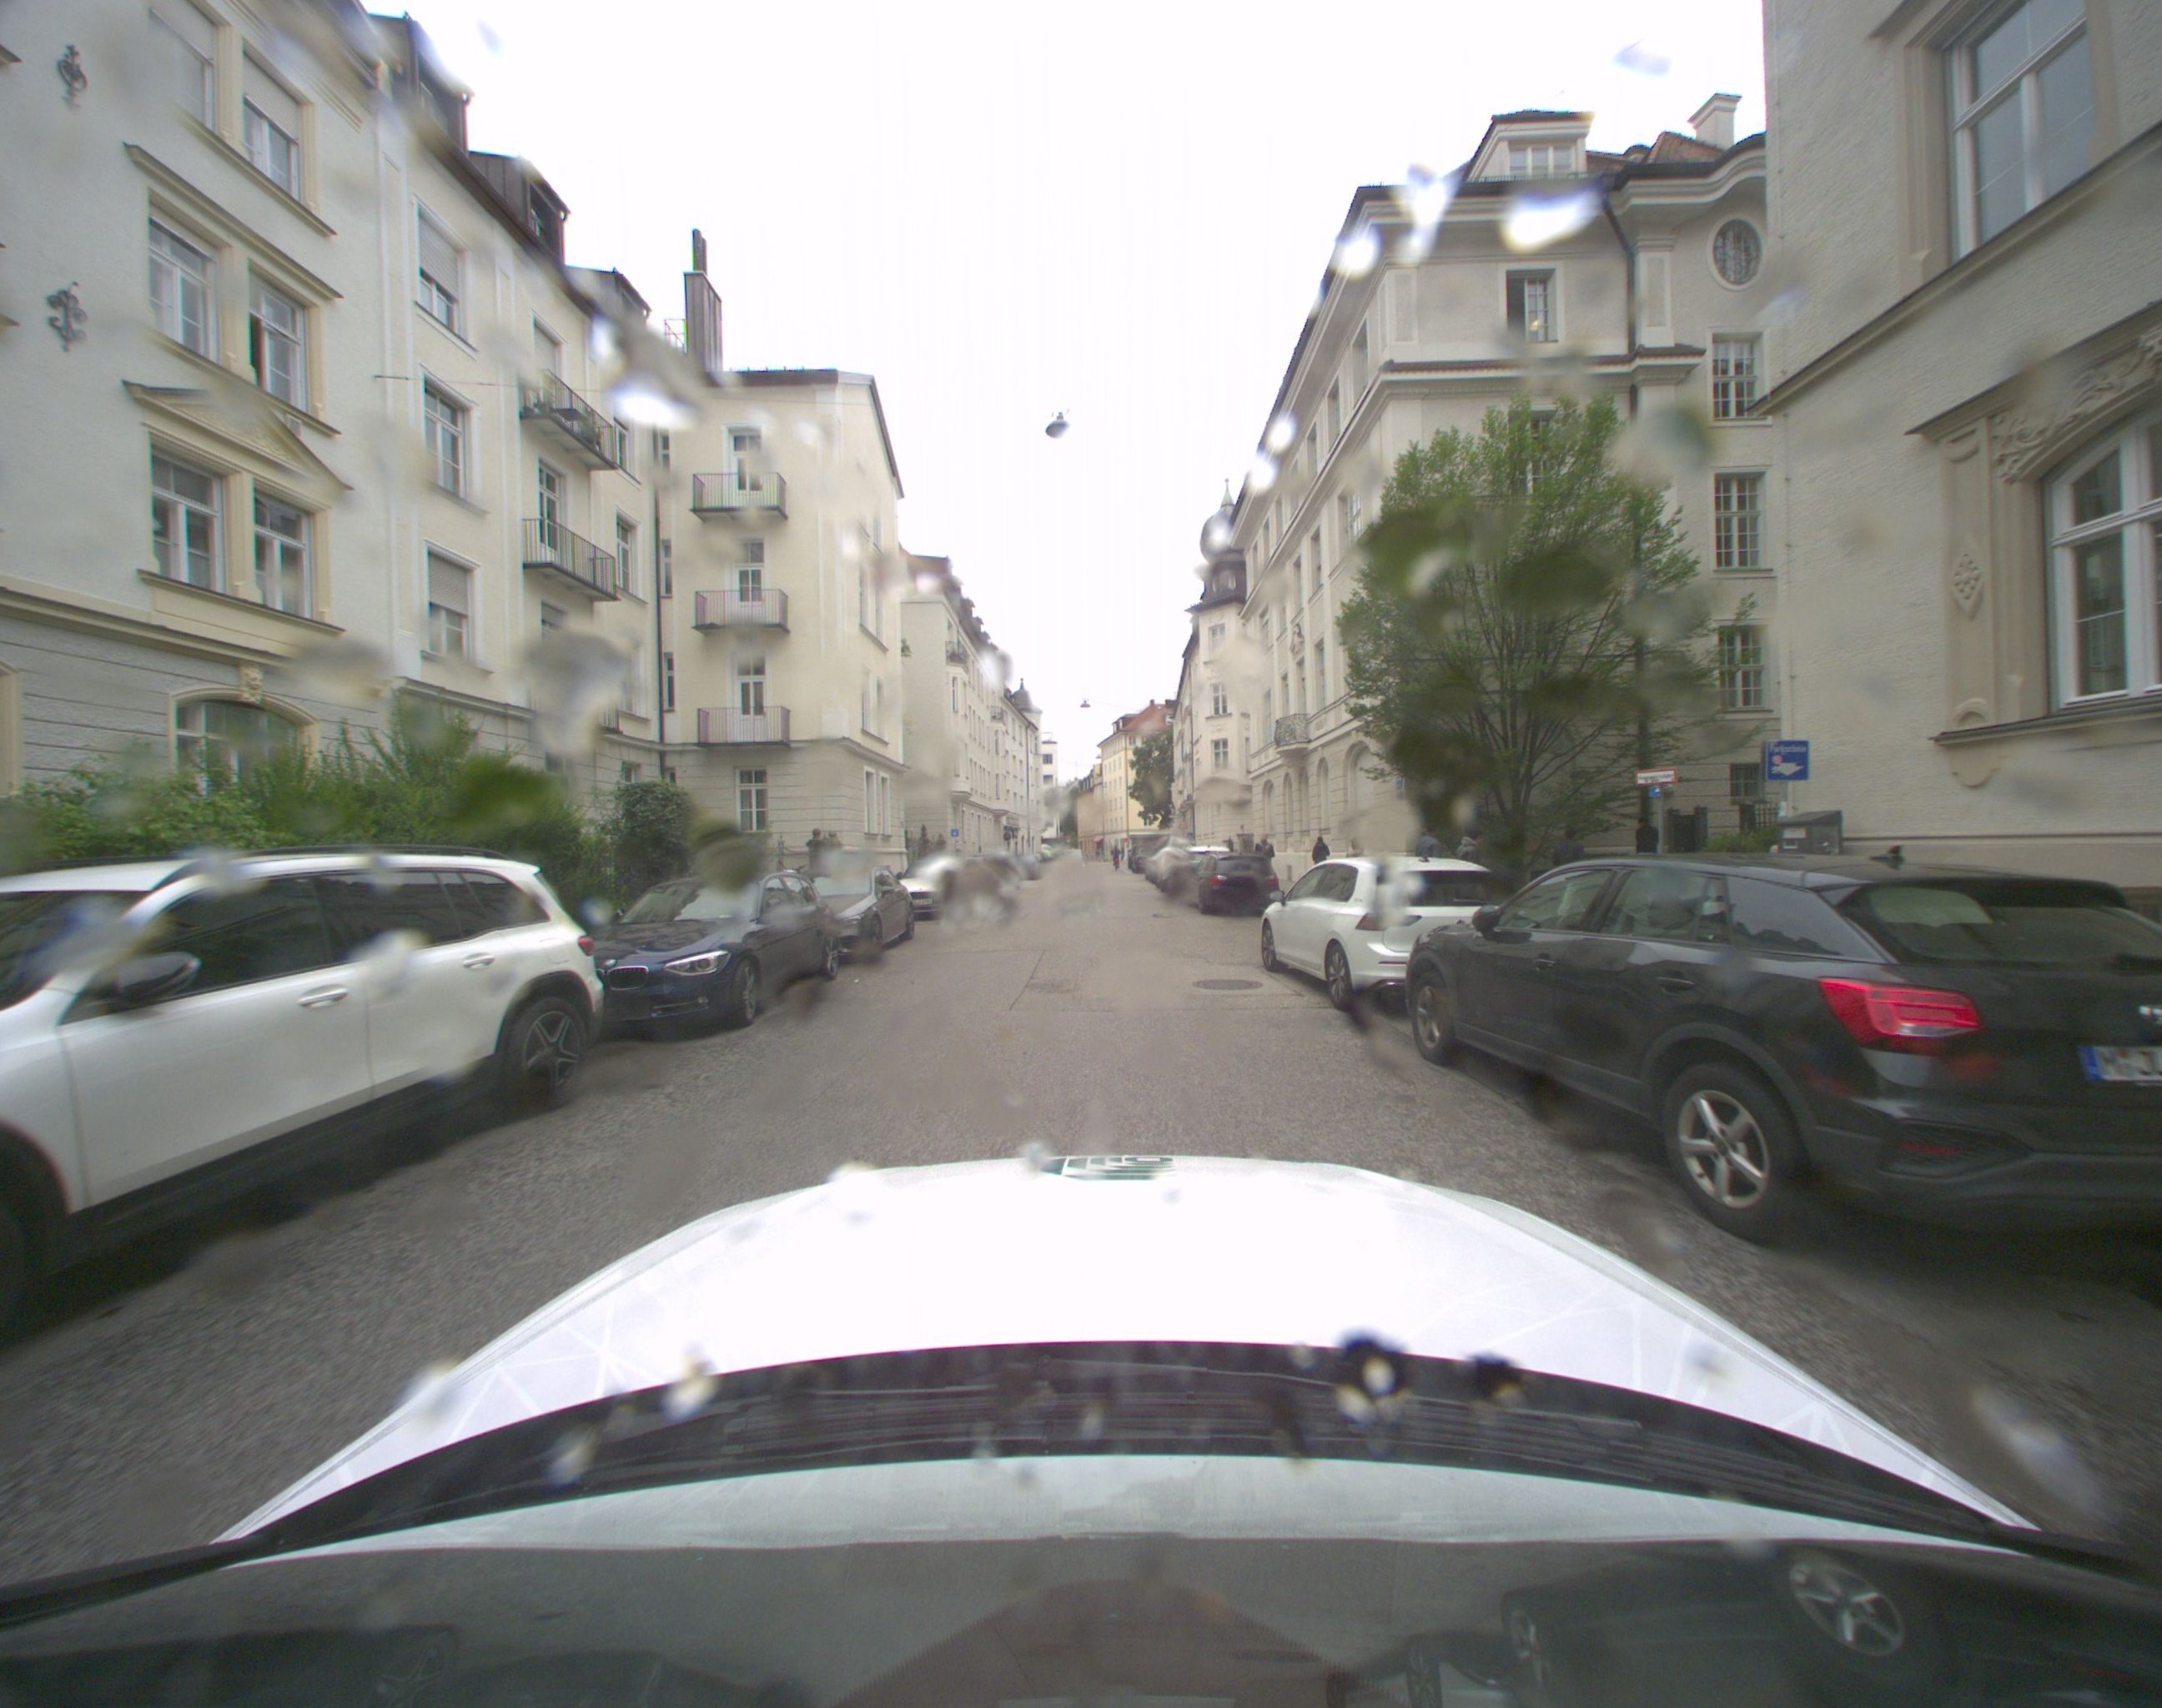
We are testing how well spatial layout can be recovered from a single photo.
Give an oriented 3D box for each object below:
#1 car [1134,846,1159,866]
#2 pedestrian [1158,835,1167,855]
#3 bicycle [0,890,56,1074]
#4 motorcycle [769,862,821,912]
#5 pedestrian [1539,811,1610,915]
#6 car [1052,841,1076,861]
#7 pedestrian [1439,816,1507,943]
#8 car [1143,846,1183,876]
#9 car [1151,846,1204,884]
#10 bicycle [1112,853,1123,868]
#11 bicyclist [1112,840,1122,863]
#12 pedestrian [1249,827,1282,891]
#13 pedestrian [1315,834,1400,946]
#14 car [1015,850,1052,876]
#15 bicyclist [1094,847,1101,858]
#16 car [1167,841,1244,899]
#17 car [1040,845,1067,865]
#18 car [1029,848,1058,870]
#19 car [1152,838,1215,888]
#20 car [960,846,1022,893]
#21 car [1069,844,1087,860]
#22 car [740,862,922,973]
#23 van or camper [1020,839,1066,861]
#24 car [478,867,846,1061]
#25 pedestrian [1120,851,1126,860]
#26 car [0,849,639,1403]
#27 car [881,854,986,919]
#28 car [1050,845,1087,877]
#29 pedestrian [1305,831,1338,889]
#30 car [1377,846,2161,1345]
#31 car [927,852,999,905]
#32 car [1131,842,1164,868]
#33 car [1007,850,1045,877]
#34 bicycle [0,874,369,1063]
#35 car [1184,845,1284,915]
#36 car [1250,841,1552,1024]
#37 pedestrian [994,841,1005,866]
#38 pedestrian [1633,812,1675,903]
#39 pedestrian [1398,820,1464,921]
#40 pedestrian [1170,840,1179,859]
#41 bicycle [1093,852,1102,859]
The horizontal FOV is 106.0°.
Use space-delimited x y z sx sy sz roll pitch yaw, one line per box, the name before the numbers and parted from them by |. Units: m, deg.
car | 4.534 0.126 56.794 1.656 1.395 3.585 0 0 4
pedestrian | 7.451 -0.837 74.719 0.701 1.728 0.703 -3 0 -1
bicycle | -7.900 0.923 4.677 0.693 1.260 2.532 -3 1 2
motorcycle | -7.497 0.848 21.415 0.702 1.249 1.821 0 0 0
pedestrian | 8.957 0.154 14.815 0.856 1.817 0.678 -1 1 0
car | -1.574 -0.263 76.961 1.834 1.757 4.005 -2 0 4
pedestrian | 5.642 0.354 11.743 0.625 1.769 0.672 -2 1 0
car | 3.973 0.322 39.885 1.607 1.395 4.001 -1 0 1
car | 4.054 0.427 34.787 1.703 1.501 3.998 -1 0 -1
bicycle | 2.567 0.433 57.371 0.636 1.004 1.577 -2 0 6
bicyclist | 2.553 -0.188 57.427 0.603 1.606 0.759 -2 1 6
pedestrian | 5.392 0.138 23.876 0.679 1.775 0.855 -5 1 2
pedestrian | 4.297 0.540 12.679 0.855 1.657 0.859 -1 0 -26
car | -2.903 0.543 50.660 1.788 1.419 4.512 -5 0 2
bicyclist | 2.344 -0.217 116.223 0.782 1.637 0.972 -2 0 -13
car | 3.605 0.409 24.211 1.742 1.525 4.172 -2 0 2
car | -2.073 0.059 62.457 1.735 1.486 4.182 -2 0 1
car | -2.561 0.311 55.928 1.806 1.385 4.440 -3 0 -2
car | 3.678 0.274 29.925 1.888 1.636 4.394 -2 1 2
car | -3.422 0.539 31.660 1.690 1.580 4.063 -4 1 2
car | -0.301 -0.182 90.045 1.669 1.597 3.949 -4 0 3
car | -3.923 0.910 13.562 1.730 1.364 4.191 -4 1 -1
van or camper | -4.981 -0.503 106.241 5.898 2.677 1.869 -2 -2 -7
car | -3.885 0.893 8.436 1.763 1.420 3.998 -1 0 -1
pedestrian | 5.825 0.207 112.879 0.695 1.270 0.652 -3 0 6
car | -4.175 0.865 3.649 1.800 1.648 4.486 -3 1 1
car | -3.635 0.741 20.788 1.790 1.435 4.080 -2 0 1
car | -0.631 0.341 44.717 1.718 1.533 4.087 -4 0 2
pedestrian | 7.263 0.177 24.619 0.680 1.679 0.812 -4 1 0
car | 3.353 0.732 4.578 1.787 1.498 4.080 1 1 -2
car | -3.620 0.711 25.579 1.640 1.403 3.998 -4 0 -1
car | 4.142 0.044 51.025 1.702 1.587 4.000 0 1 0
car | -3.012 0.478 45.384 1.844 1.367 4.700 -2 0 -1
bicycle | -7.960 0.889 7.325 0.752 1.297 2.532 -3 0 2
car | 3.579 0.536 19.725 1.705 1.451 4.226 -1 1 1
car | 3.157 0.648 8.973 1.658 1.507 4.063 -1 1 -1
pedestrian | -5.698 -0.036 56.850 0.695 1.707 0.665 -2 0 -1
pedestrian | 11.618 0.067 16.525 0.548 1.794 0.577 -2 0 25
pedestrian | 6.356 0.294 14.800 0.879 1.769 0.672 -2 1 0
pedestrian | 8.601 -0.412 75.093 0.677 1.674 0.654 -4 0 -1
bicycle | 2.323 0.155 116.378 0.847 1.001 2.160 -2 0 -12
